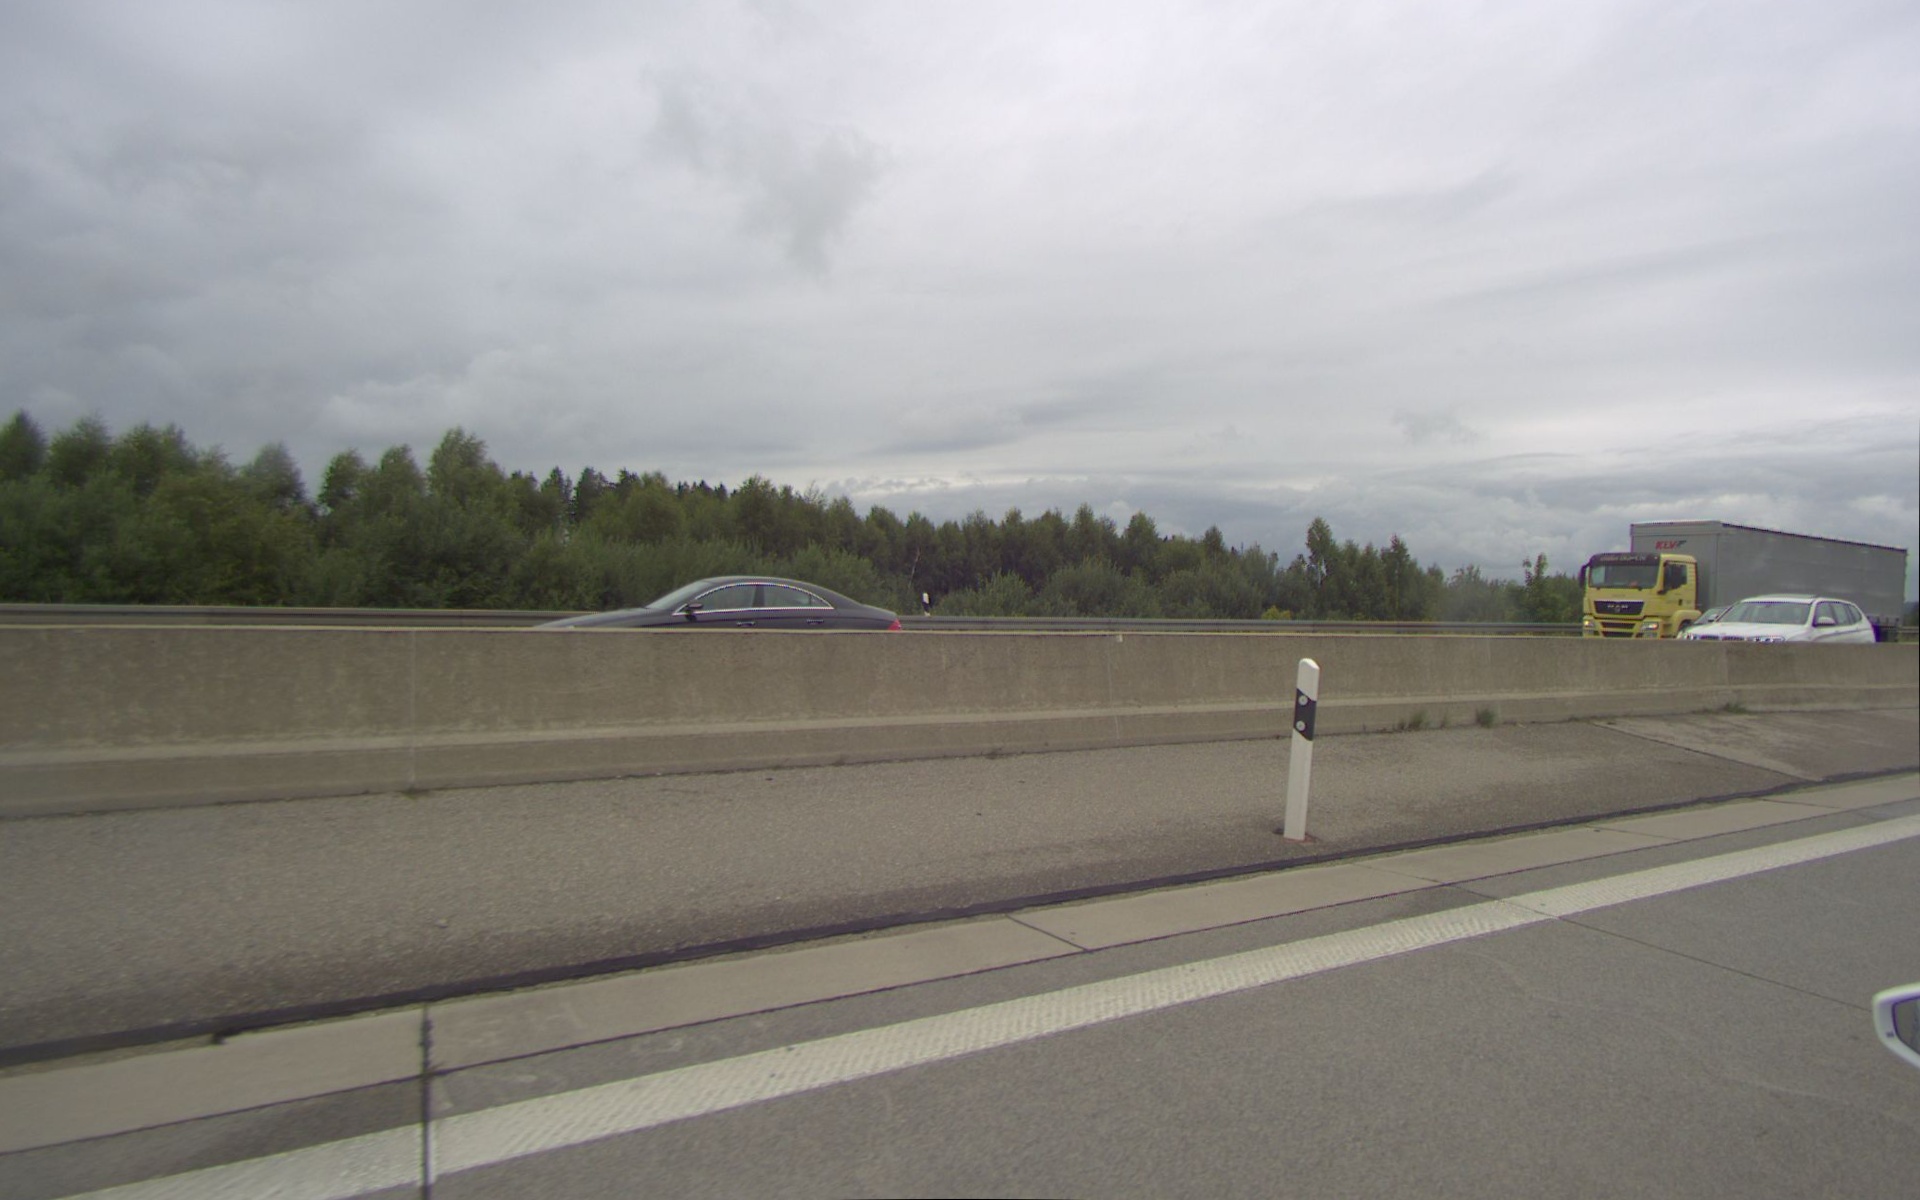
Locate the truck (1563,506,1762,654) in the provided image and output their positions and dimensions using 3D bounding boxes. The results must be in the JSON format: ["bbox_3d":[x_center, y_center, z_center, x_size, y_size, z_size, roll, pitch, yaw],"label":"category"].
[{"bbox_3d":[22.020,-0.568,31.455,5.787,4.236,2.918,0,1,-30],"label":"truck"}]

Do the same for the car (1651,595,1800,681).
[{"bbox_3d":[19.591,0.912,25.688,3.953,2.041,1.637,0,1,-30],"label":"car"}]

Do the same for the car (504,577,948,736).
[{"bbox_3d":[-2.916,0.640,12.923,5.207,1.689,2.024,1,0,-31],"label":"car"}]

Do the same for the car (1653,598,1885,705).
[{"bbox_3d":[16.035,0.946,19.866,4.548,1.892,2.025,1,0,-29],"label":"car"}]

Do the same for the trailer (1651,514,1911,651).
[{"bbox_3d":[29.204,-0.524,35.499,11.725,4.274,2.906,0,1,-29],"label":"trailer"}]
